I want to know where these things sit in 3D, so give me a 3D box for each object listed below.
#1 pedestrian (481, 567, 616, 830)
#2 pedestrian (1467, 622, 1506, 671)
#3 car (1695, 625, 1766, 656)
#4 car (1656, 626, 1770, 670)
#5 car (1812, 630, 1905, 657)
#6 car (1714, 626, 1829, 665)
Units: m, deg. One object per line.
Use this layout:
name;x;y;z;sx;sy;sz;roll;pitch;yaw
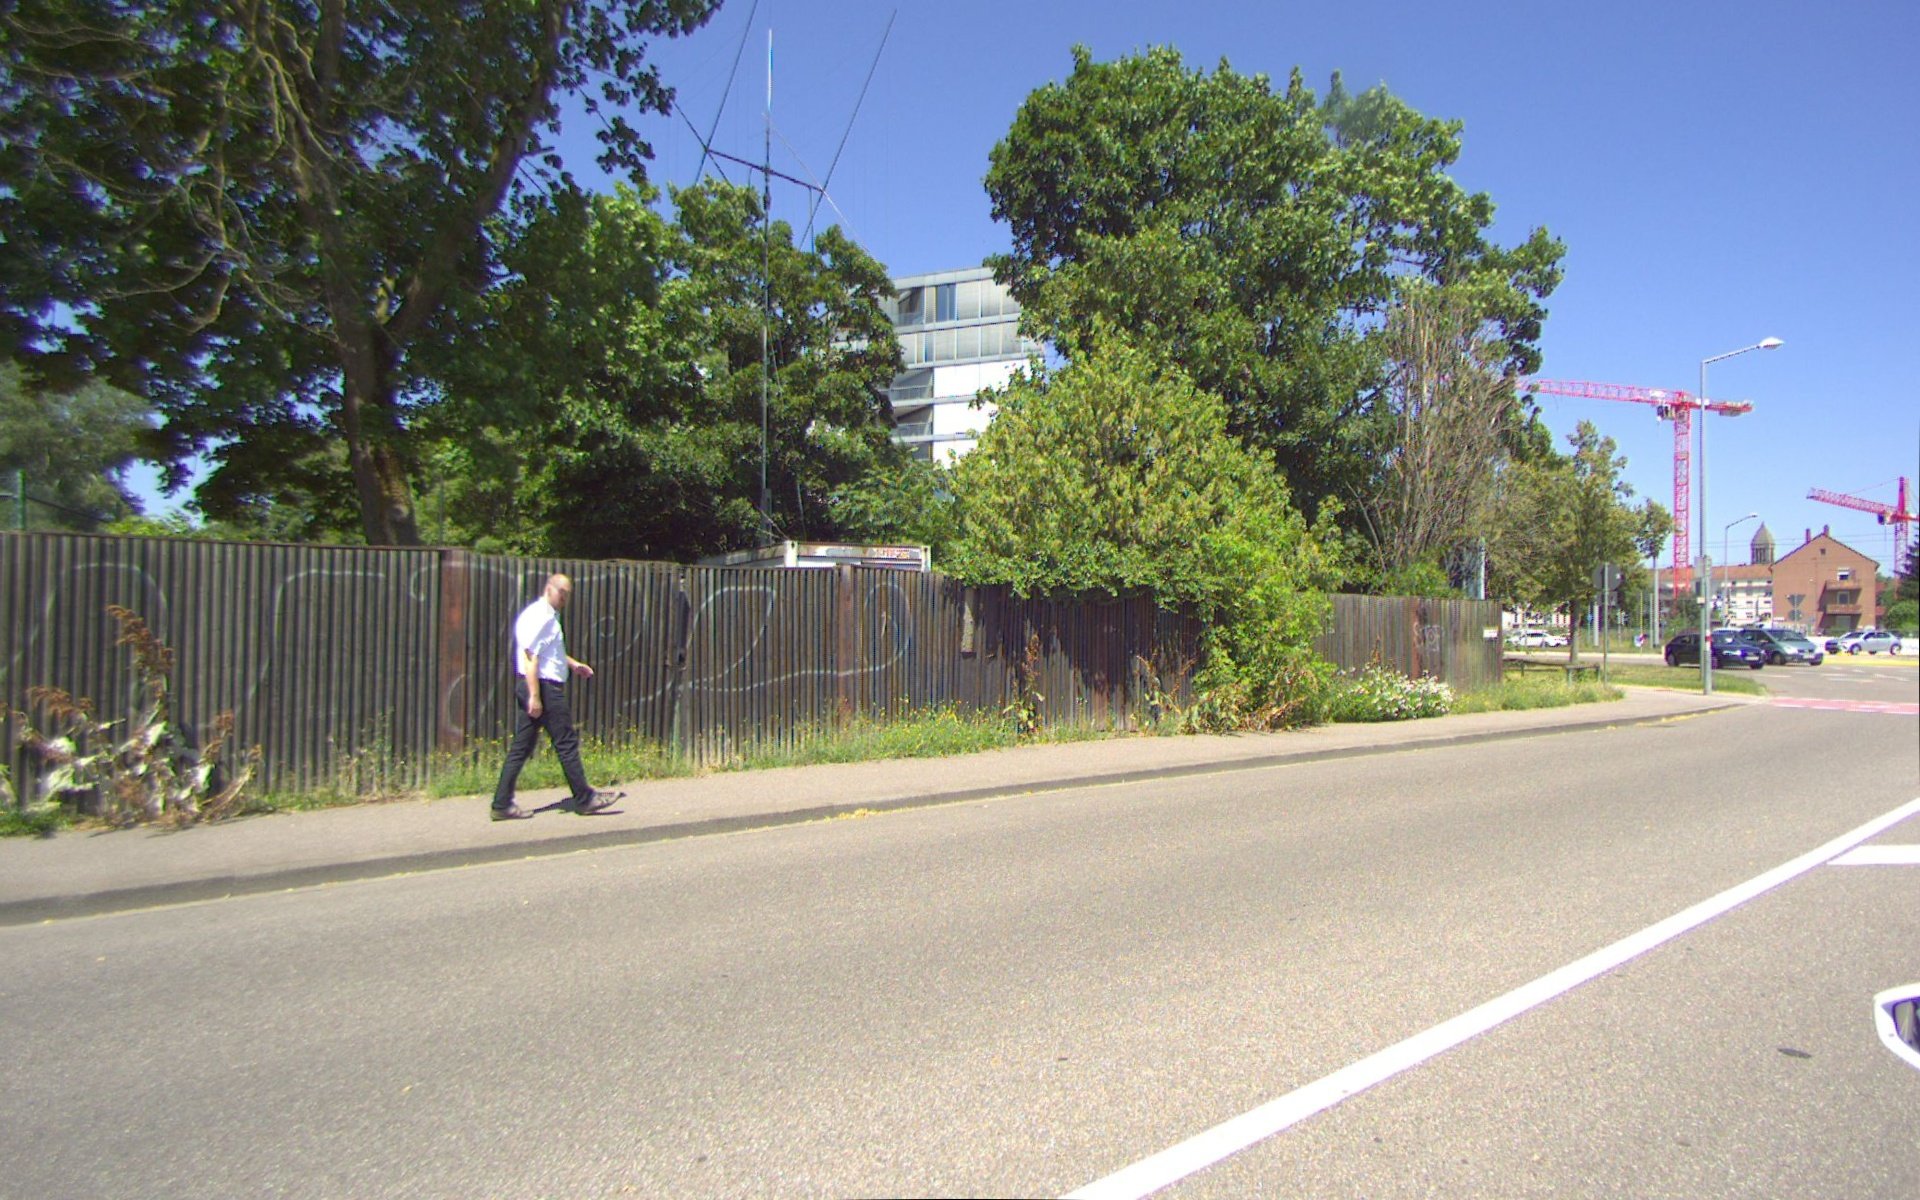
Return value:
pedestrian;-3.085;0.702;7.527;0.841;1.849;0.589;1;0;-30
pedestrian;17.608;1.549;33.602;0.796;1.584;0.876;1;0;-7
car;42.315;2.216;55.149;3.953;1.570;1.748;2;-1;-30
car;30.774;1.928;41.204;1.702;1.641;4.013;1;-1;2
car;55.608;2.676;62.230;4.136;1.520;1.713;1;0;3
car;35.264;1.937;43.782;1.765;1.516;4.000;1;-1;-1
